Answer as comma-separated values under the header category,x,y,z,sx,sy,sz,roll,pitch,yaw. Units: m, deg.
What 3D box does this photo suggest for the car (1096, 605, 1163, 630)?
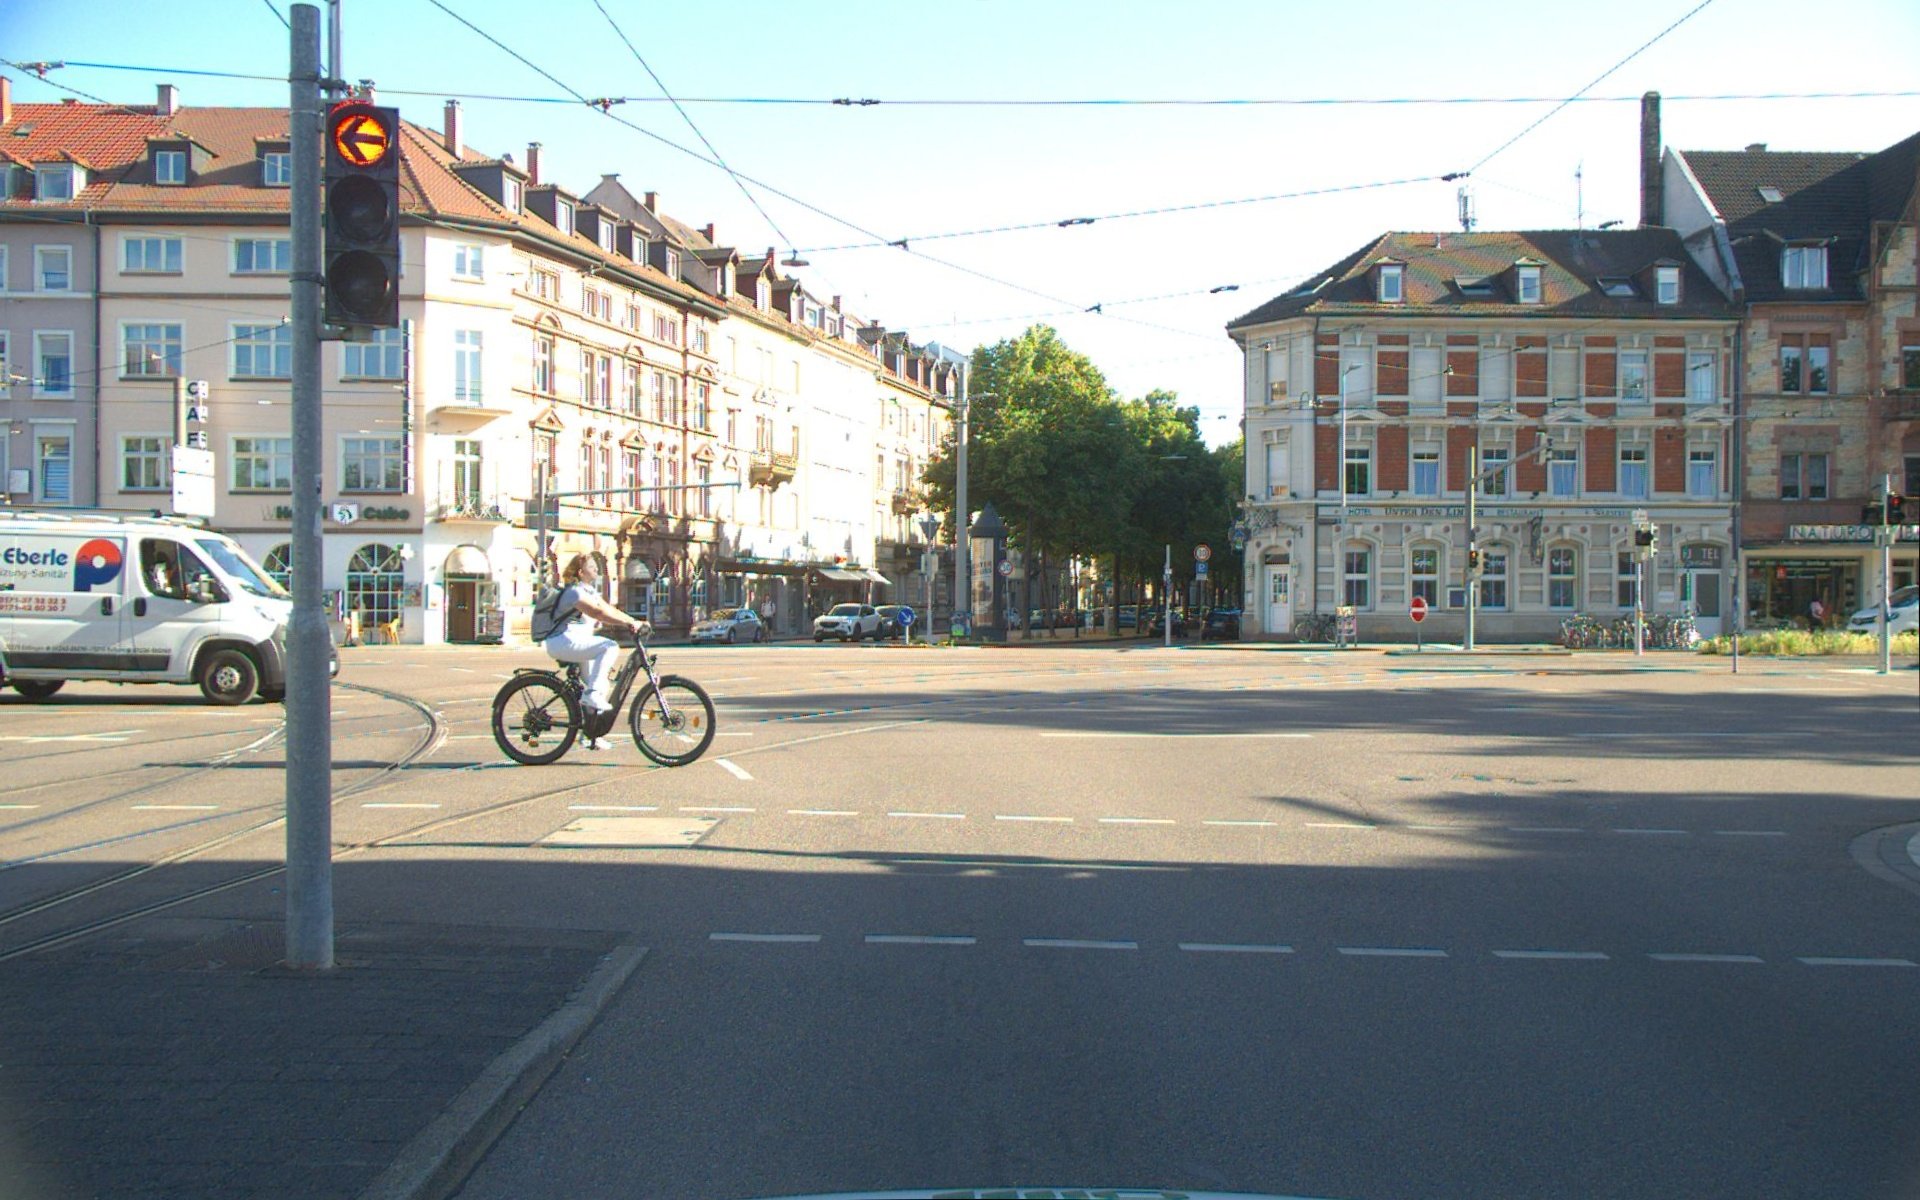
category,x,y,z,sx,sy,sz,roll,pitch,yaw
car,10.260,1.046,99.806,3.902,1.480,1.683,0,0,10

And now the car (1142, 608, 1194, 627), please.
category,x,y,z,sx,sy,sz,roll,pitch,yaw
car,14.058,1.159,111.643,3.360,1.261,1.578,0,0,10

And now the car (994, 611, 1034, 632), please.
category,x,y,z,sx,sy,sz,roll,pitch,yaw
car,3.829,1.492,116.878,1.951,1.429,4.172,0,0,15

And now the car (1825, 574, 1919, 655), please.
category,x,y,z,sx,sy,sz,roll,pitch,yaw
car,25.300,0.358,42.749,4.879,2.049,2.000,0,0,-1

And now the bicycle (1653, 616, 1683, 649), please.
category,x,y,z,sx,sy,sz,roll,pitch,yaw
bicycle,22.910,1.039,53.541,0.476,1.038,1.785,0,0,9

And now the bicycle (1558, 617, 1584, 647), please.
category,x,y,z,sx,sy,sz,roll,pitch,yaw
bicycle,19.809,1.022,53.633,0.476,0.930,1.785,0,0,9

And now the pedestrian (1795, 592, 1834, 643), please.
category,x,y,z,sx,sy,sz,roll,pitch,yaw
pedestrian,29.364,0.601,56.833,1.013,1.741,0.630,1,-1,8

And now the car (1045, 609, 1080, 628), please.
category,x,y,z,sx,sy,sz,roll,pitch,yaw
car,8.157,1.443,131.490,1.951,1.429,4.172,0,0,15

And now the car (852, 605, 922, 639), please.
category,x,y,z,sx,sy,sz,roll,pitch,yaw
car,-3.219,0.958,73.563,1.951,1.429,4.172,0,0,15

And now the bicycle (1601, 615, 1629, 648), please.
category,x,y,z,sx,sy,sz,roll,pitch,yaw
bicycle,21.167,1.008,53.465,0.476,1.038,1.785,0,0,9

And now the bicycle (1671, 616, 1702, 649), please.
category,x,y,z,sx,sy,sz,roll,pitch,yaw
bicycle,23.594,1.052,53.723,0.476,1.038,1.785,0,0,9

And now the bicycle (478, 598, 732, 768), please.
category,x,y,z,sx,sy,sz,roll,pitch,yaw
bicycle,-2.833,0.657,13.336,1.901,1.321,0.623,1,0,-3

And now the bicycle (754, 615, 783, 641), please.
category,x,y,z,sx,sy,sz,roll,pitch,yaw
bicycle,-7.550,1.102,65.152,0.641,1.018,1.666,1,0,11

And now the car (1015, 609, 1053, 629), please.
category,x,y,z,sx,sy,sz,roll,pitch,yaw
car,5.489,1.387,122.623,1.951,1.429,4.172,0,0,15

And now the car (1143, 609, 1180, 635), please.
category,x,y,z,sx,sy,sz,roll,pitch,yaw
car,10.920,1.180,89.342,1.680,1.323,4.077,0,0,11

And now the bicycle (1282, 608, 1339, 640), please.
category,x,y,z,sx,sy,sz,roll,pitch,yaw
bicycle,12.181,0.834,57.496,1.911,1.072,0.716,0,0,9

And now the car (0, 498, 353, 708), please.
category,x,y,z,sx,sy,sz,roll,pitch,yaw
car,-10.476,0.032,20.725,5.015,2.475,2.077,0,0,-8

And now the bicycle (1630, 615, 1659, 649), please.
category,x,y,z,sx,sy,sz,roll,pitch,yaw
bicycle,22.115,1.025,53.461,0.476,1.038,1.785,0,0,9

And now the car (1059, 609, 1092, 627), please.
category,x,y,z,sx,sy,sz,roll,pitch,yaw
car,9.587,1.490,136.708,1.951,1.429,4.172,0,0,15

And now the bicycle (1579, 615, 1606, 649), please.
category,x,y,z,sx,sy,sz,roll,pitch,yaw
bicycle,20.478,1.029,53.556,0.476,1.038,1.785,0,0,9

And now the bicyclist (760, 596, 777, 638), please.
category,x,y,z,sx,sy,sz,roll,pitch,yaw
bicyclist,-7.541,0.657,65.052,0.479,1.629,0.667,0,0,9

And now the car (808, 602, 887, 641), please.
category,x,y,z,sx,sy,sz,roll,pitch,yaw
car,-4.524,0.852,67.371,1.951,1.542,4.172,0,0,15

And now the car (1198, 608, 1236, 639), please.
category,x,y,z,sx,sy,sz,roll,pitch,yaw
car,12.862,1.149,82.688,1.717,1.445,4.003,0,0,12

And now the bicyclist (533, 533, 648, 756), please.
category,x,y,z,sx,sy,sz,roll,pitch,yaw
bicyclist,-2.967,0.348,13.351,0.782,1.745,0.733,0,0,-3

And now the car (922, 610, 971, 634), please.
category,x,y,z,sx,sy,sz,roll,pitch,yaw
car,-0.807,1.324,102.040,1.951,1.429,4.172,0,0,15

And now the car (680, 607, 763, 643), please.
category,x,y,z,sx,sy,sz,roll,pitch,yaw
car,-9.593,0.989,66.866,1.951,1.385,3.821,0,0,15

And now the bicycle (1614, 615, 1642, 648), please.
category,x,y,z,sx,sy,sz,roll,pitch,yaw
bicycle,21.617,1.016,53.533,0.476,1.038,1.785,0,0,9
